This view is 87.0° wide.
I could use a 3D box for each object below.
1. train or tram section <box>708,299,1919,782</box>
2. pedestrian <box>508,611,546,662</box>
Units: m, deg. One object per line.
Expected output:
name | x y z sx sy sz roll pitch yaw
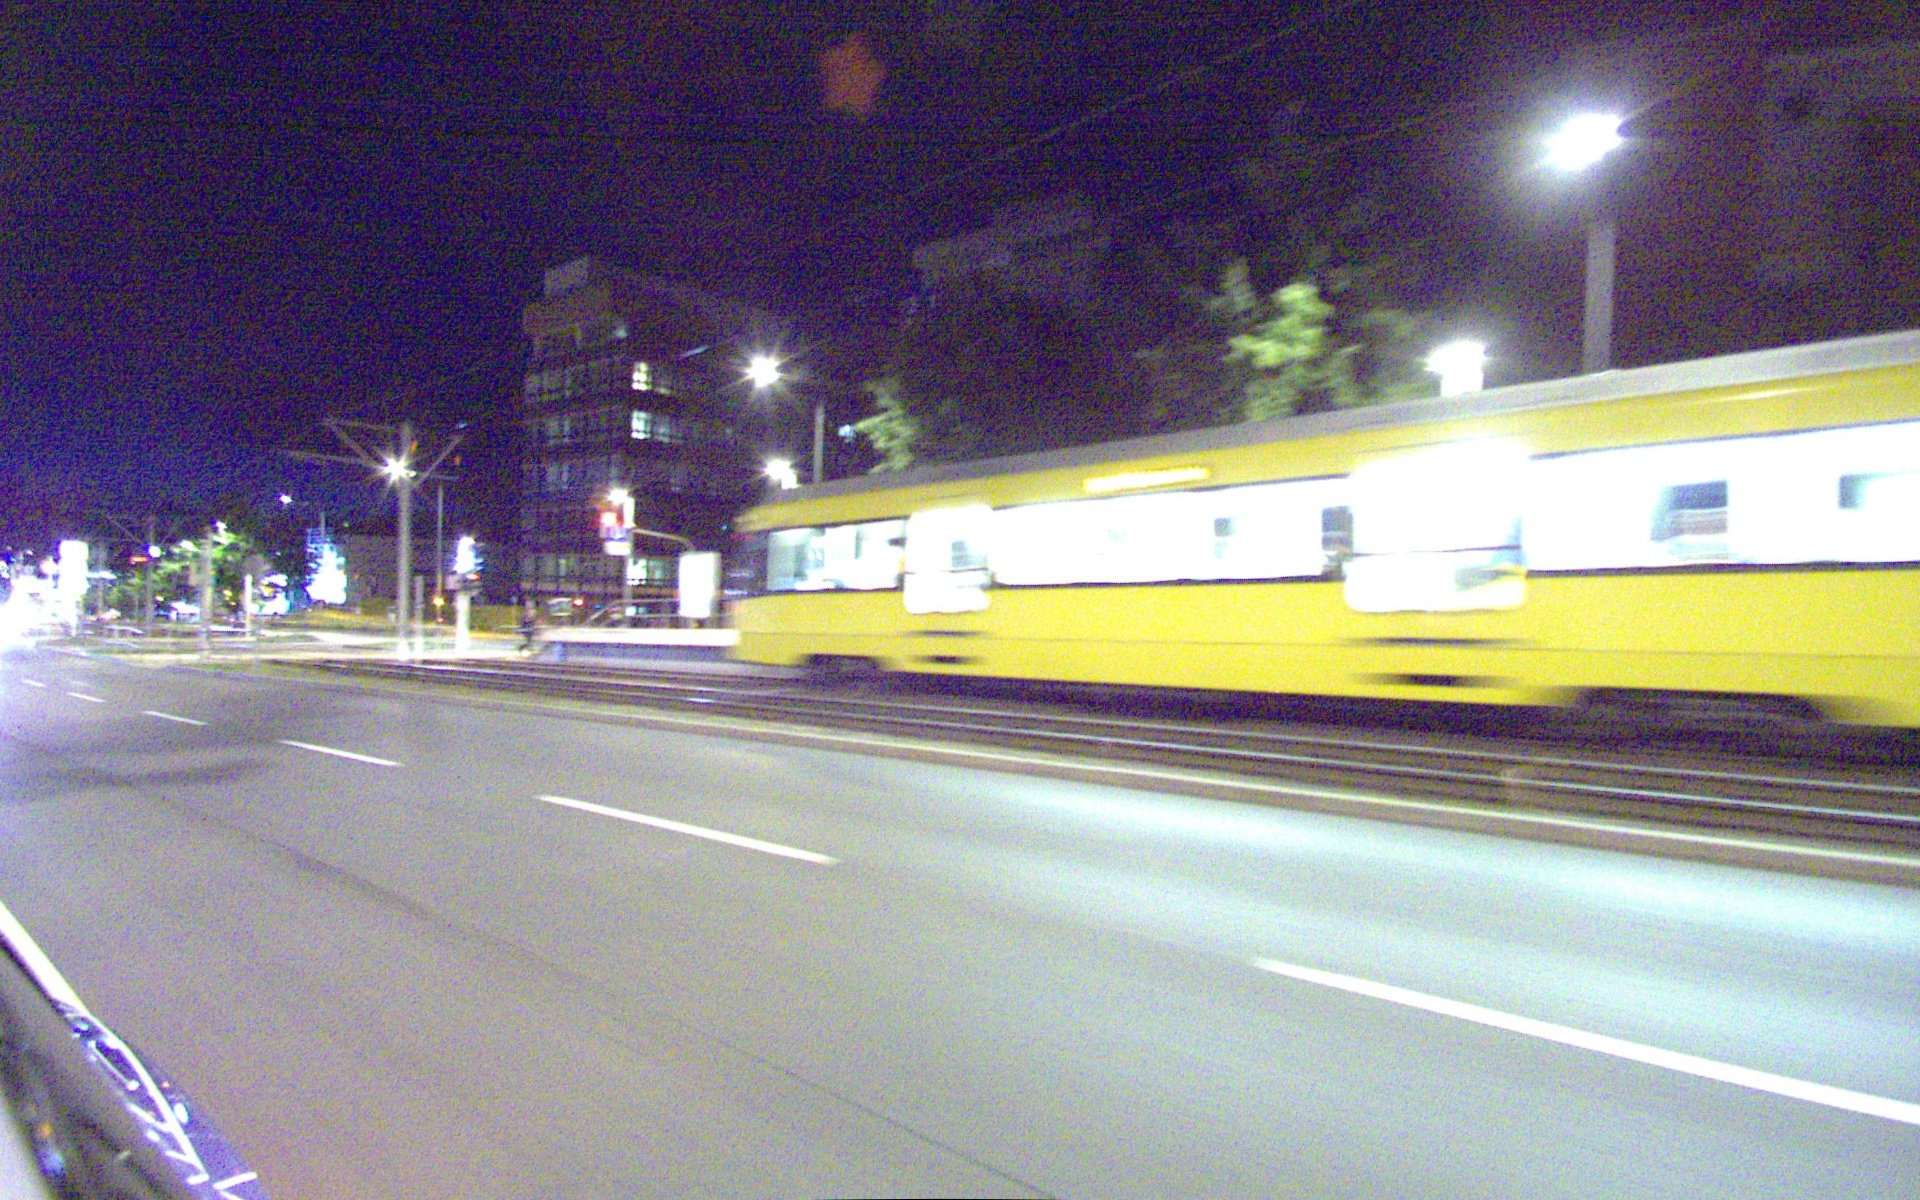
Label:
train or tram section | 3.016 -0.358 14.363 19.363 3.875 2.708 -1 -1 43
pedestrian | -14.892 1.257 34.828 1.056 1.701 0.809 -1 -3 43
